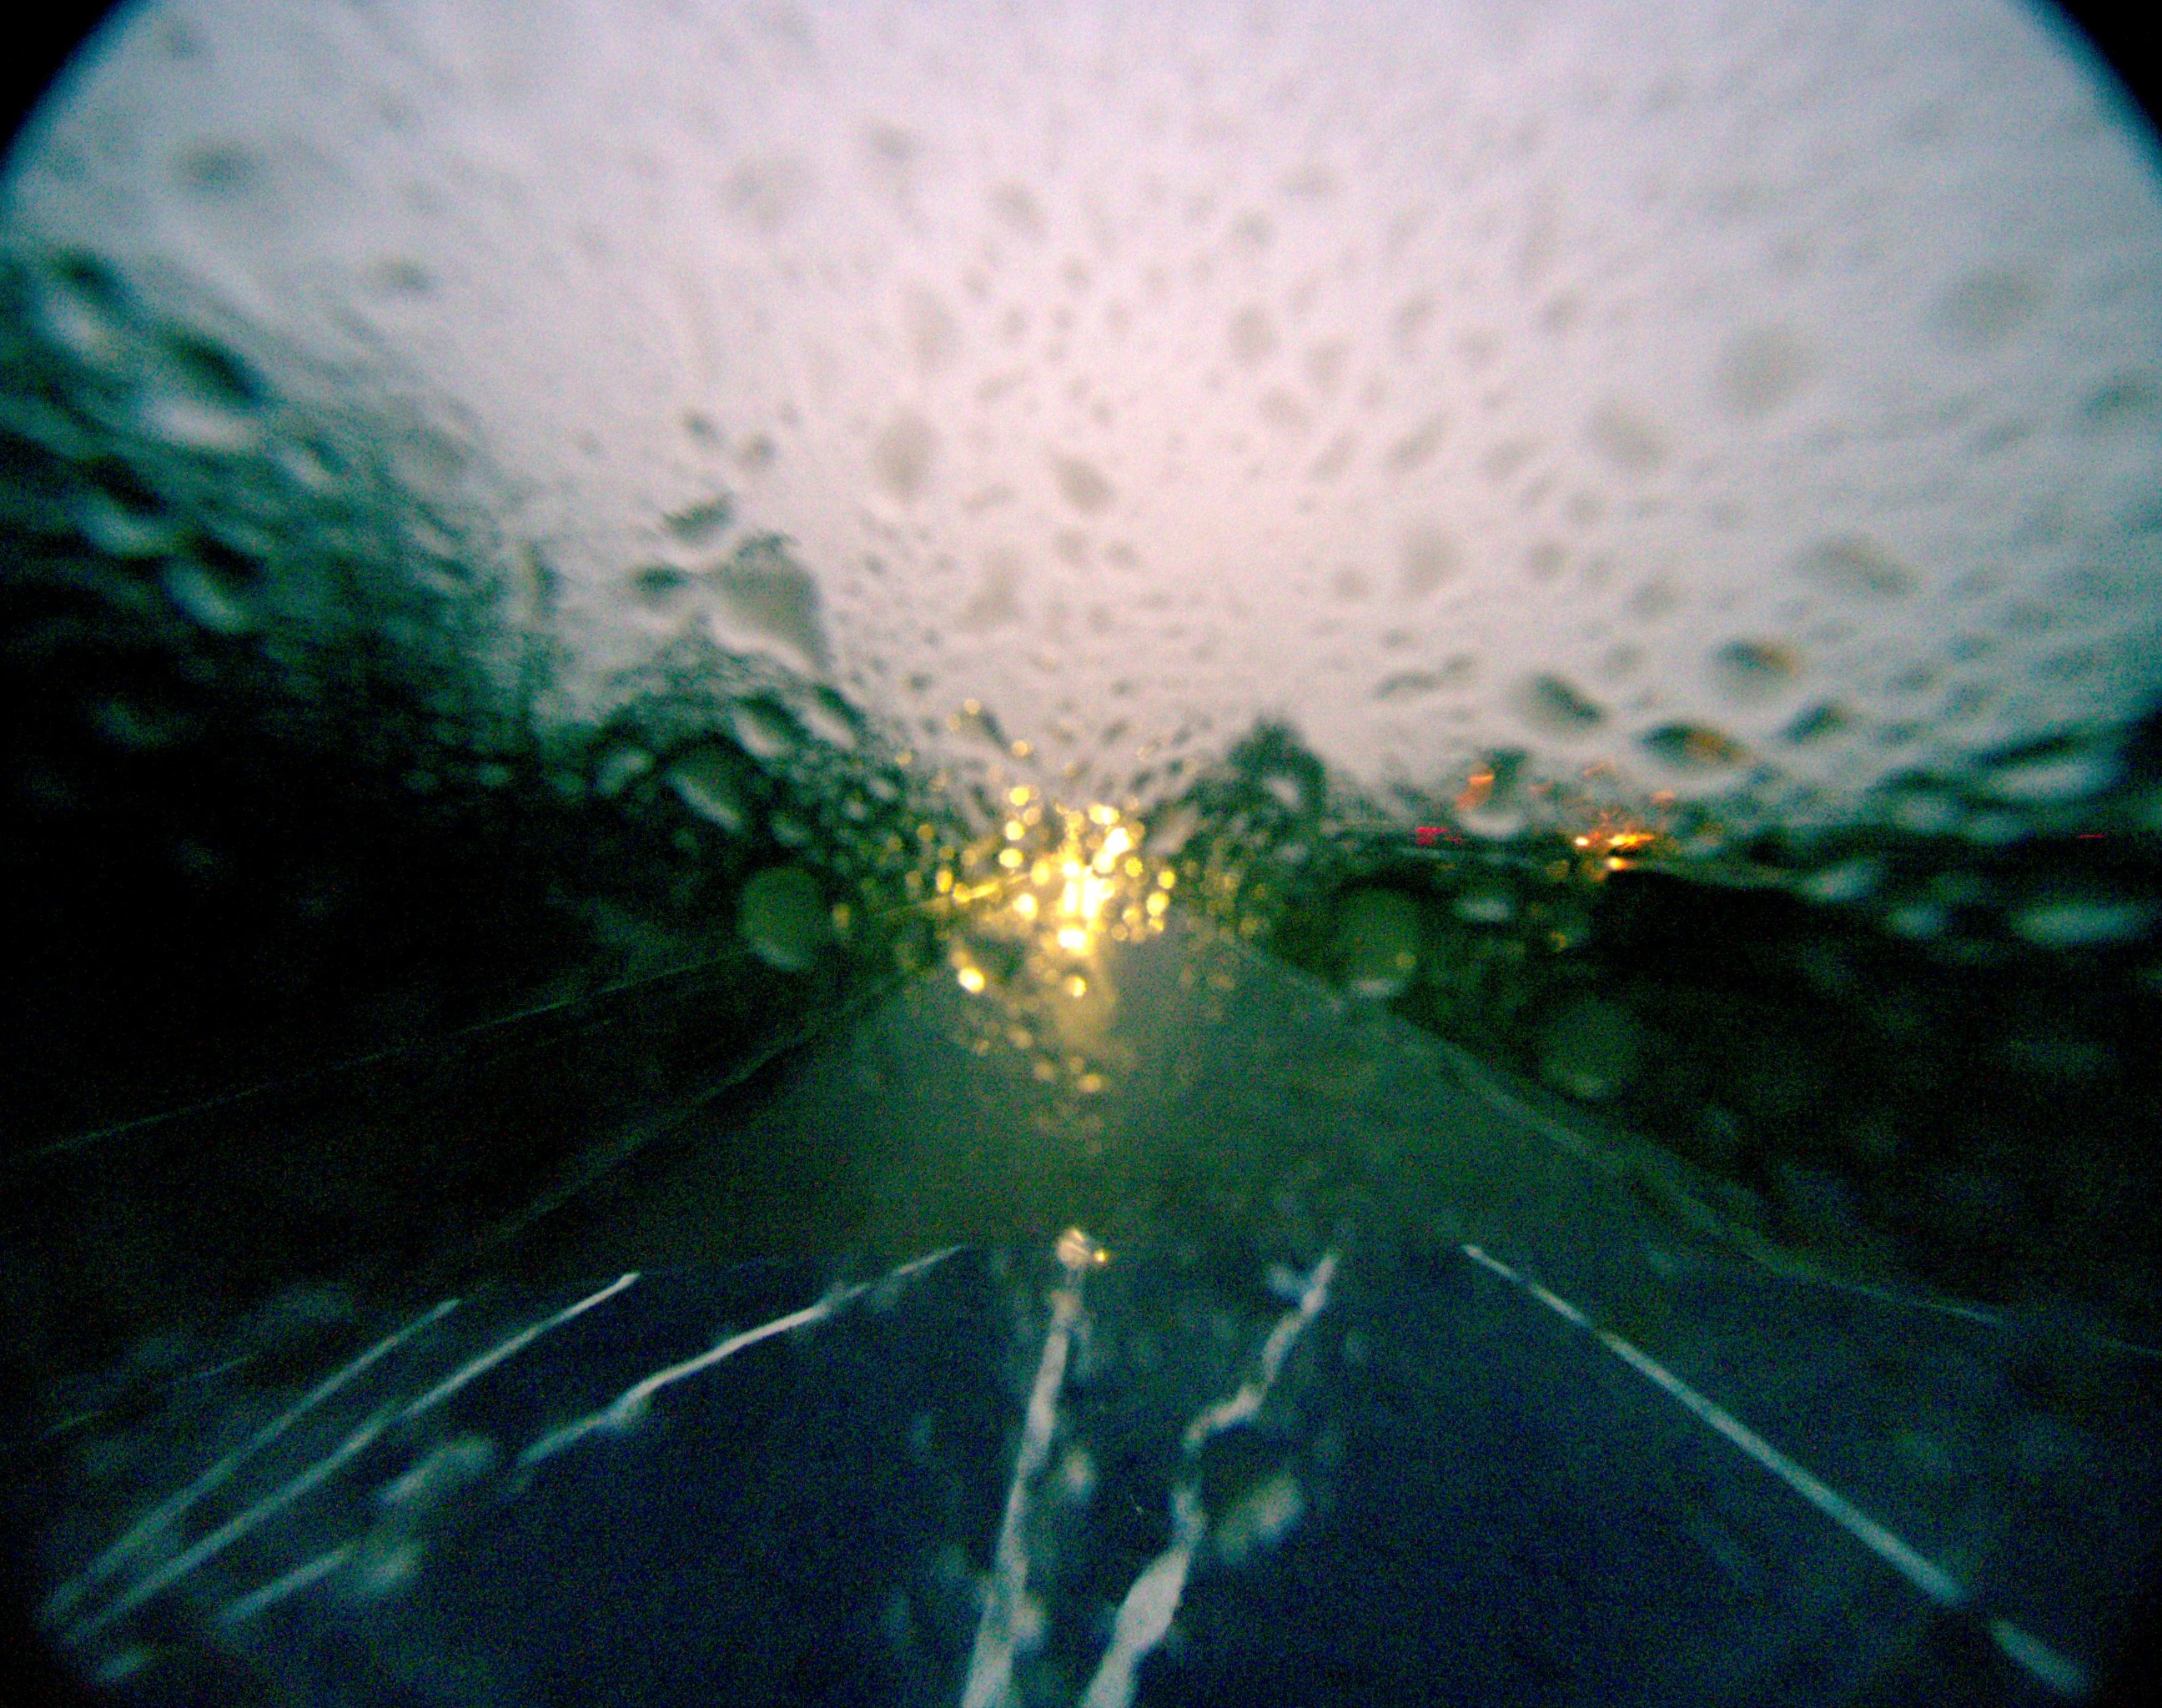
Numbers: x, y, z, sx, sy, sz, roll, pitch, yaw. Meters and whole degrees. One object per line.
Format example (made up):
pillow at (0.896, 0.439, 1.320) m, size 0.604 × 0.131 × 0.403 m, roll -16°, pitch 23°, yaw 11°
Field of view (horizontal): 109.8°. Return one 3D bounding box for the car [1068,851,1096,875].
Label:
car at (0.071, 0.645, 54.215) m, size 1.841 × 1.553 × 3.868 m, roll -3°, pitch 0°, yaw 1°

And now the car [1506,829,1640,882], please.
car at (16.945, 0.087, 26.501) m, size 1.780 × 1.525 × 4.705 m, roll -6°, pitch -1°, yaw 5°
